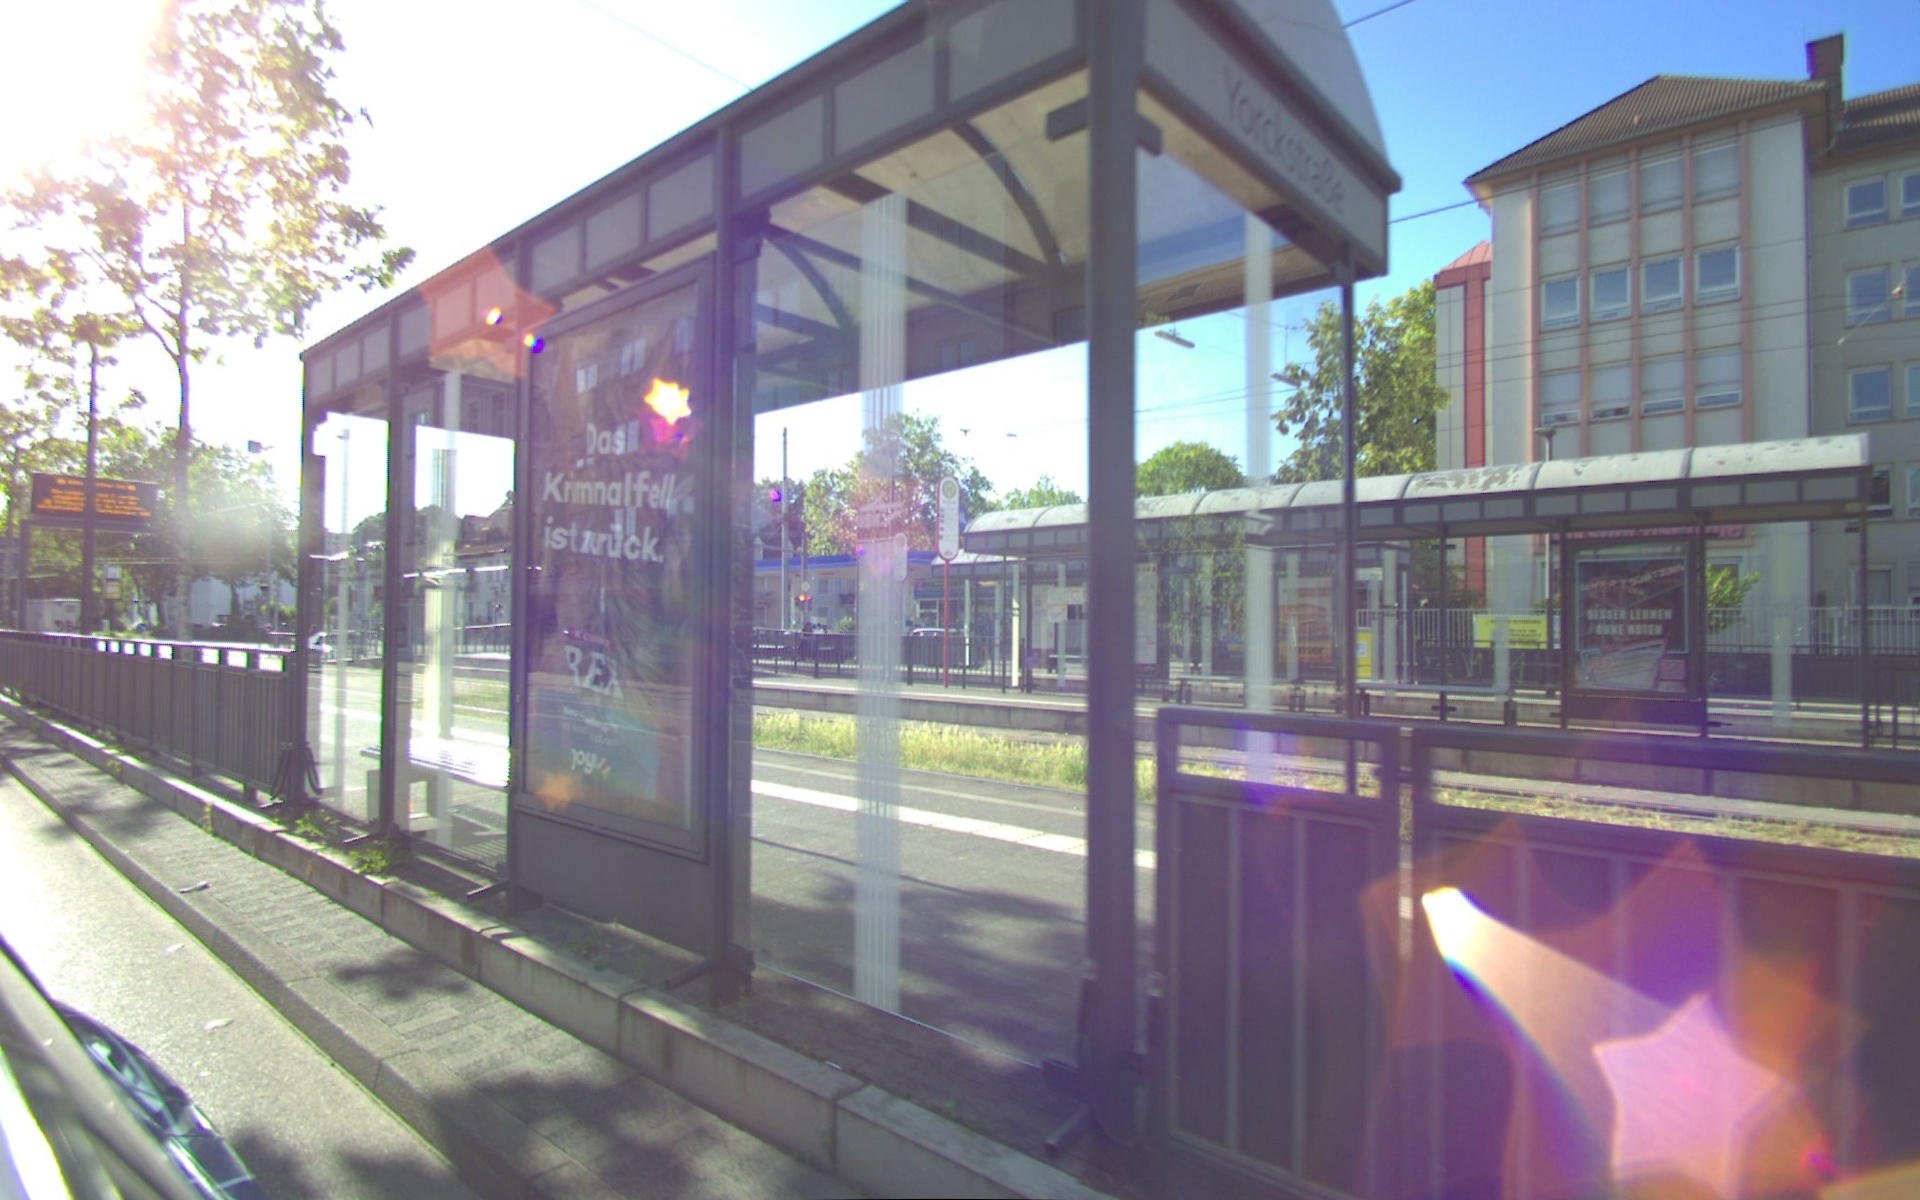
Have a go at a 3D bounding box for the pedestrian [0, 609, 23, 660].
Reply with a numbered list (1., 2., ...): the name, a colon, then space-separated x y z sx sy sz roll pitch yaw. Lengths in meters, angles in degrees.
1. pedestrian: -35.318 1.279 37.600 0.808 1.846 0.642 -1 -2 44

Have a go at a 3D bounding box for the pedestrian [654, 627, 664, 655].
1. pedestrian: -19.374 2.643 65.145 0.486 1.783 0.523 1 -2 -37

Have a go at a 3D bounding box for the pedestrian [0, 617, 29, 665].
1. pedestrian: -34.576 1.489 36.932 1.008 1.703 0.792 -1 -2 44

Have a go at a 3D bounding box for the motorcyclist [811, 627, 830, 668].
1. motorcyclist: -6.456 2.182 46.812 0.544 1.866 0.745 2 -2 -45

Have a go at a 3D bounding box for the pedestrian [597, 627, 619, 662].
1. pedestrian: -17.571 2.222 50.498 0.824 1.703 0.646 -1 -2 33

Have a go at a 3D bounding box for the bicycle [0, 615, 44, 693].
1. bicycle: -17.713 0.978 18.931 2.169 1.390 0.632 -1 -2 43

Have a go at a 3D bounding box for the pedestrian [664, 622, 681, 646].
1. pedestrian: -18.108 2.165 63.734 0.800 1.495 0.758 -1 -2 39

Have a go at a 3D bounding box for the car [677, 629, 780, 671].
1. car: -8.594 1.800 37.401 4.000 1.431 1.778 -1 -2 43

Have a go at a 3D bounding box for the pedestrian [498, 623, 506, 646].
1. pedestrian: -36.380 2.745 80.353 0.409 1.756 0.411 -2 -2 41

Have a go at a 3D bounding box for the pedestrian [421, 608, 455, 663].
1. pedestrian: -15.625 1.063 30.306 0.735 1.604 0.677 -1 -2 42
